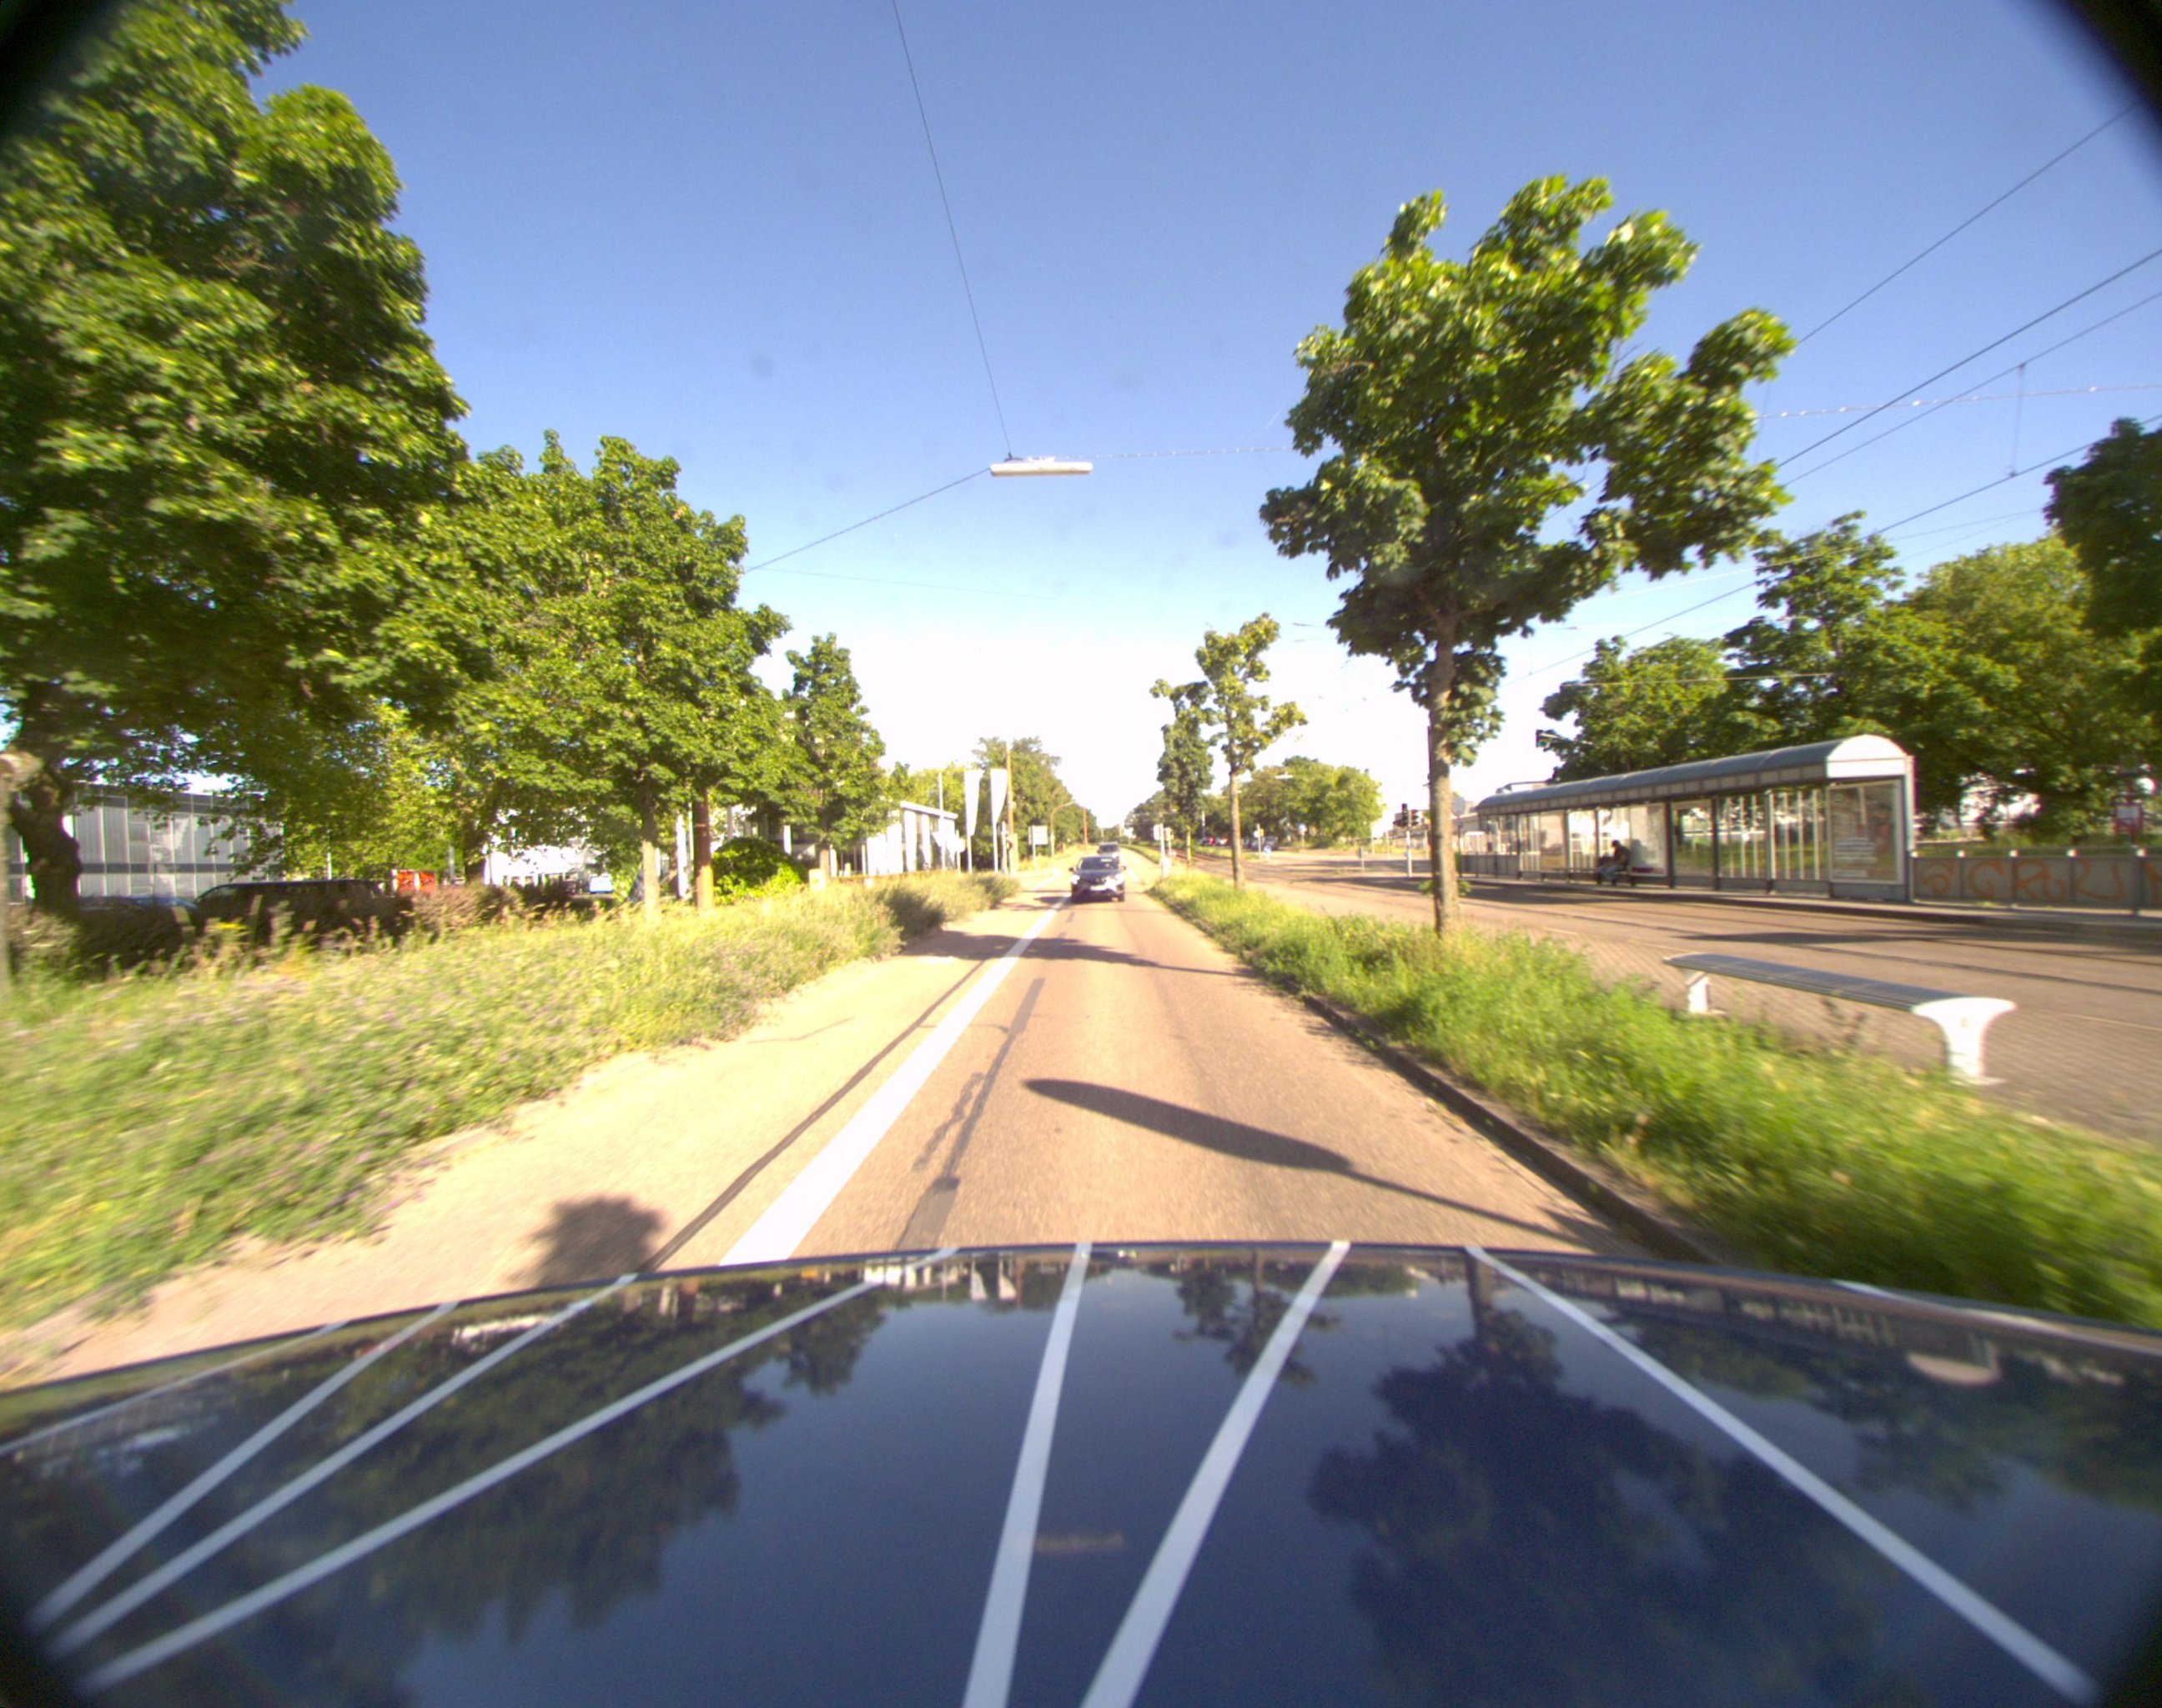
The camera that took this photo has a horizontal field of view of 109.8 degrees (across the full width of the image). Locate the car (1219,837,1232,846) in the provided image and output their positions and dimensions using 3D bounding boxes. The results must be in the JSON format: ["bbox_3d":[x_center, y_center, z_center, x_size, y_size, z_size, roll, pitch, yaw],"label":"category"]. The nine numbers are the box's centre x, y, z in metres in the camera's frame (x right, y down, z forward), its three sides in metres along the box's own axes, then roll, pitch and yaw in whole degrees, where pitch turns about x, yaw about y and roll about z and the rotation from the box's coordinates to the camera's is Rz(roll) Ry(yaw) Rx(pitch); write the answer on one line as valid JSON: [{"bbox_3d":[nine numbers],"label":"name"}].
[{"bbox_3d":[26.863,-2.317,140.949,1.701,1.575,3.456,-2,0,-1],"label":"car"}]

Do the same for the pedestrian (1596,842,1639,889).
[{"bbox_3d":[14.329,0.310,20.300,0.650,1.241,0.681,0,0,-8],"label":"pedestrian"}]

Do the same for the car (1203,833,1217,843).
[{"bbox_3d":[21.149,-2.570,124.705,1.701,1.575,3.456,-2,0,-1],"label":"car"}]

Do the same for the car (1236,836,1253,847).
[{"bbox_3d":[24.073,-1.833,111.999,1.701,1.575,3.456,-2,0,-1],"label":"car"}]

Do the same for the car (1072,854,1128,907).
[{"bbox_3d":[0.575,0.836,25.906,1.750,1.585,4.246,0,1,-1],"label":"car"}]

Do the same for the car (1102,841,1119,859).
[{"bbox_3d":[2.967,-0.398,76.997,1.555,1.764,3.456,-2,0,-1],"label":"car"}]

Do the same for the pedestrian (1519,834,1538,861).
[{"bbox_3d":[27.811,-0.394,47.246,0.639,1.667,0.805,-3,1,-38],"label":"pedestrian"}]

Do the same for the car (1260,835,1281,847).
[{"bbox_3d":[24.849,-1.679,99.576,1.772,1.575,3.456,-2,0,-1],"label":"car"}]
